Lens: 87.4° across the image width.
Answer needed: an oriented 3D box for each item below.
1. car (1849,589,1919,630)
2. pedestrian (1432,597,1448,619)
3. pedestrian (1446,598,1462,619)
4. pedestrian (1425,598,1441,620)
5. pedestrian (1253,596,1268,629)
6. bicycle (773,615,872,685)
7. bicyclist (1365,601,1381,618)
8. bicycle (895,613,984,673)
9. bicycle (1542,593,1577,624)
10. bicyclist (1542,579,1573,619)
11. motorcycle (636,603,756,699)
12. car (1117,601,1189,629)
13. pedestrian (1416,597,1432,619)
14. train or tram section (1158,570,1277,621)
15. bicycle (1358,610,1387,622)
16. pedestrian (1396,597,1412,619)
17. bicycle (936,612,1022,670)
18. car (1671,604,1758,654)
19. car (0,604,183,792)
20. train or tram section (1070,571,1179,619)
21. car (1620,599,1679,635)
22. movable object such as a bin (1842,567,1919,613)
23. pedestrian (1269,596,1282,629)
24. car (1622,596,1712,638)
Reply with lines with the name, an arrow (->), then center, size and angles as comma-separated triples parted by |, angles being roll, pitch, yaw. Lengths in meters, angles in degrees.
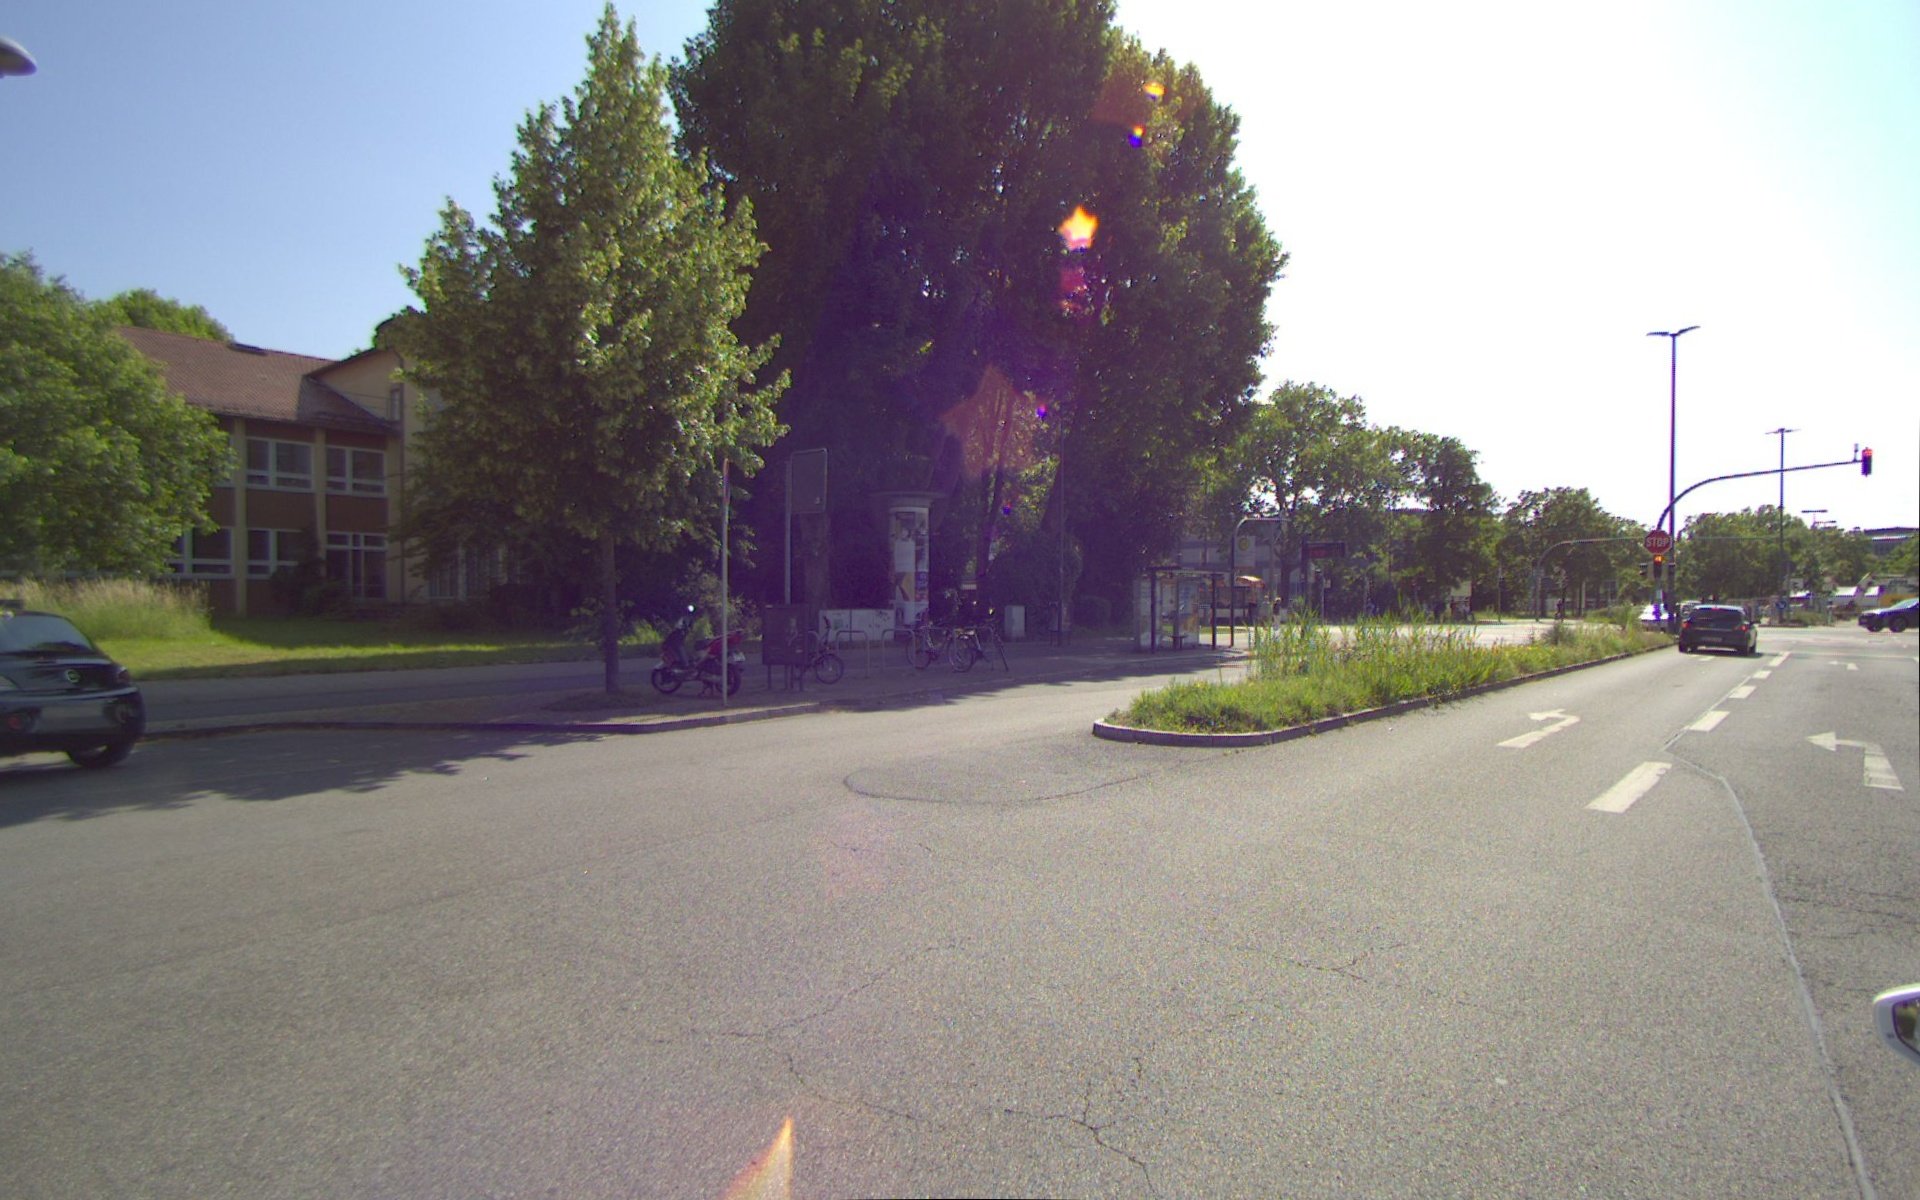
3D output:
car -> 48.463, 0.479, 50.804 | 4.773, 2.041, 2.000 | 0, 0, 18
pedestrian -> 36.138, 0.628, 75.639 | 0.929, 1.633, 0.652 | 0, 1, -25
pedestrian -> 37.509, 0.640, 76.230 | 0.929, 1.633, 0.664 | 0, 1, -25
pedestrian -> 36.144, 0.683, 76.793 | 0.929, 1.633, 0.652 | 0, 1, -25
pedestrian -> 15.965, 0.657, 53.363 | 0.648, 1.749, 0.752 | 0, 0, 24
bicycle -> -2.378, 0.820, 17.231 | 1.825, 1.106, 0.689 | 1, 1, 43
bicyclist -> 31.946, 0.730, 77.689 | 1.038, 1.292, 0.490 | 1, 0, 37
bicycle -> -0.430, 0.831, 20.216 | 1.825, 1.121, 0.689 | 1, 1, 43
bicycle -> 45.054, 0.617, 75.490 | 1.581, 2.299, 3.979 | 0, 0, 41
bicyclist -> 44.517, -0.070, 74.863 | 1.581, 2.970, 2.341 | 1, 0, 42
motorcycle -> -3.847, 0.708, 14.601 | 1.821, 1.301, 0.690 | 1, 1, 36
car -> 10.299, 0.778, 53.790 | 3.457, 1.395, 1.630 | 0, 0, 40
pedestrian -> 35.644, 0.628, 77.229 | 0.929, 1.633, 0.652 | 0, 1, -25
train or tram section -> 17.801, -0.300, 69.788 | 7.468, 3.376, 3.104 | 0, 0, 41
bicycle -> 31.892, 1.222, 77.713 | 1.974, 0.895, 0.525 | 0, 0, 37
pedestrian -> 34.393, 0.622, 77.756 | 0.929, 1.633, 0.652 | 0, 1, -25
bicycle -> 0.386, 0.831, 21.106 | 1.825, 1.137, 0.689 | 1, 1, 43
car -> 23.277, 0.827, 30.933 | 1.970, 1.417, 3.981 | 0, 0, 39
car -> -9.167, 0.783, 8.543 | 3.699, 1.442, 1.856 | -1, -1, 2
train or tram section -> 12.165, -0.339, 74.666 | 7.468, 3.376, 3.104 | 0, 0, 41
car -> 32.866, 0.785, 47.813 | 1.868, 1.632, 4.496 | 0, 0, 40
movable object such as a bin -> 96.258, -1.051, 102.222 | 9.573, 4.611, 3.144 | 1, 1, 44
pedestrian -> 16.646, 0.645, 53.038 | 0.558, 1.749, 0.733 | 0, 0, 24
car -> 29.330, 0.667, 41.629 | 4.357, 1.660, 1.978 | 0, 0, -39
